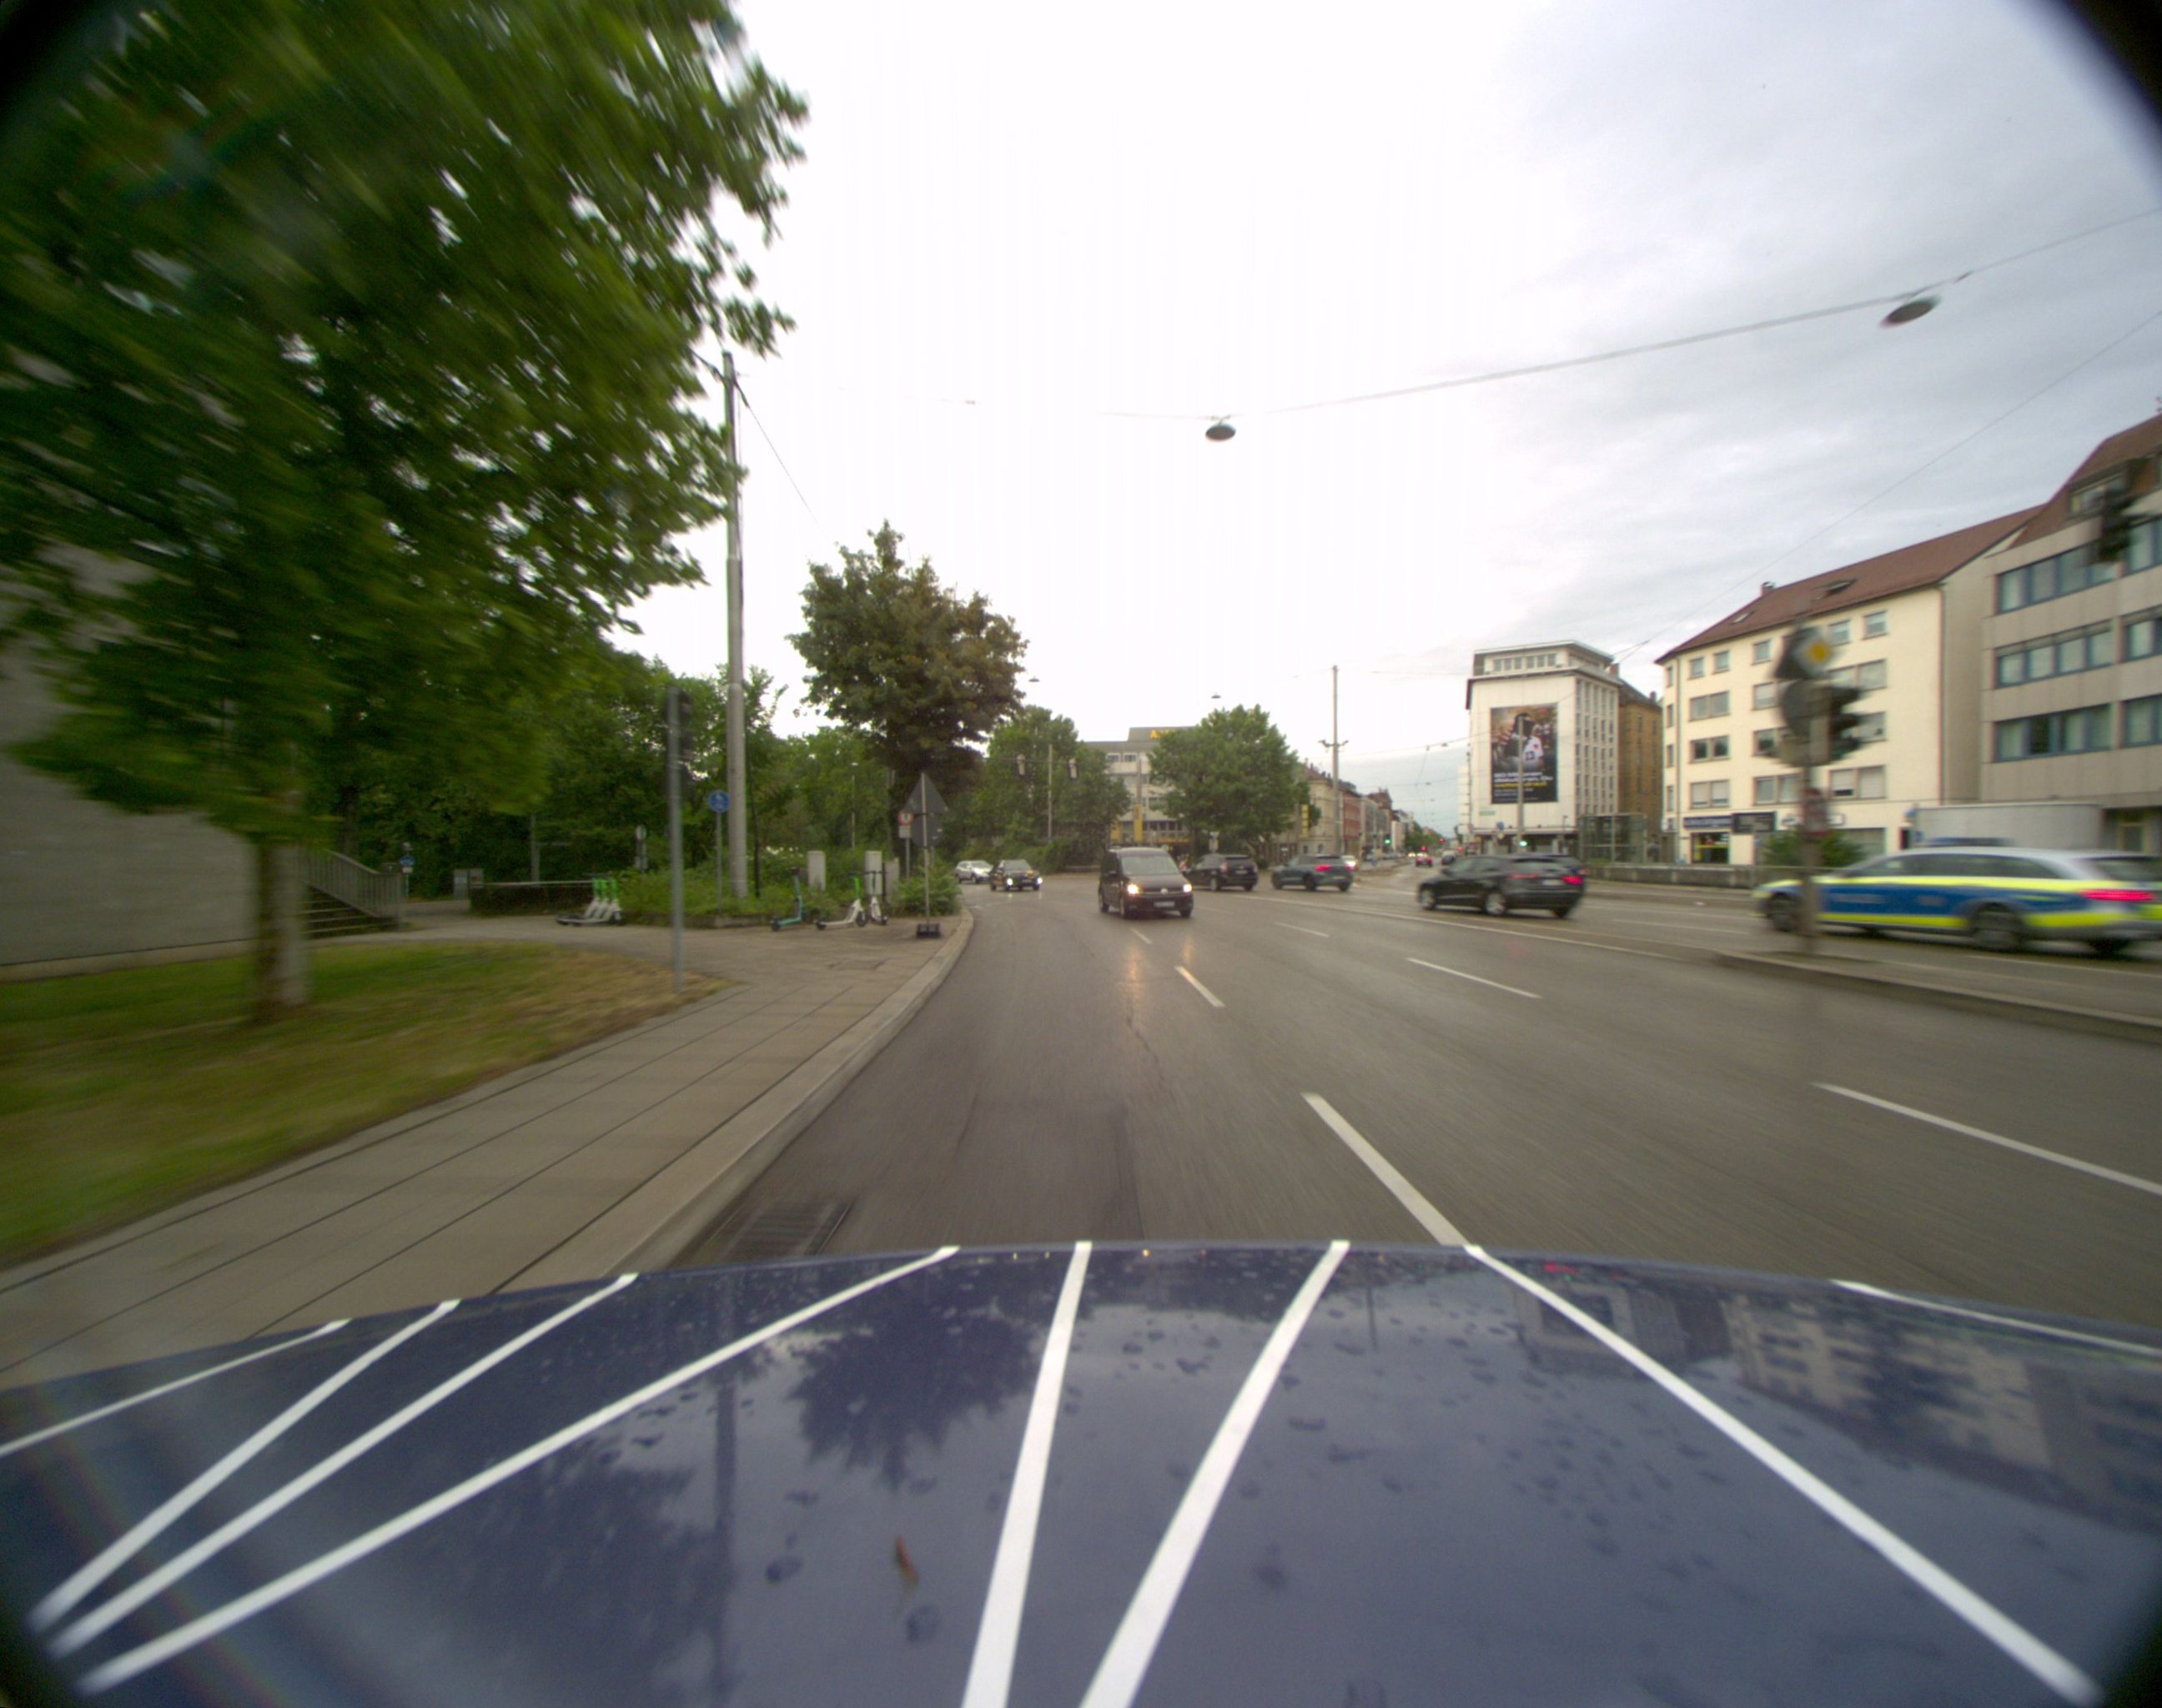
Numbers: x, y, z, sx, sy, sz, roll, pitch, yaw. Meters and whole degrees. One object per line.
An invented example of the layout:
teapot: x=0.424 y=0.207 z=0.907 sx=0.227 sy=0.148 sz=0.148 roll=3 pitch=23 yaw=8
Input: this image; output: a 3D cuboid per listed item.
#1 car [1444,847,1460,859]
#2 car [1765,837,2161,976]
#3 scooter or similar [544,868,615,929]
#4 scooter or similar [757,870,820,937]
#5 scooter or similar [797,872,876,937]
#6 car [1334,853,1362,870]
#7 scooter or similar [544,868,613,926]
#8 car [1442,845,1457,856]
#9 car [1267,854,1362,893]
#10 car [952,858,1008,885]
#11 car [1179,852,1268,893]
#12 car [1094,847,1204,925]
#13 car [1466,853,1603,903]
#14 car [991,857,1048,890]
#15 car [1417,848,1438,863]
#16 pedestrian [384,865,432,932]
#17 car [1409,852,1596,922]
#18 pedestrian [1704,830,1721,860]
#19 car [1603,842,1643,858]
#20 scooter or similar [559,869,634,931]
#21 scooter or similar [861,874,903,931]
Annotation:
car: x=52.377 y=-0.137 z=107.183 sx=1.871 sy=1.568 sz=4.007 roll=0 pitch=1 yaw=29
car: x=13.419 y=0.611 z=11.520 sx=1.771 sy=1.672 sz=4.589 roll=0 pitch=1 yaw=-3
scooter or similar: x=-11.089 y=0.978 z=16.831 sx=1.240 sy=1.305 sz=0.472 roll=0 pitch=1 yaw=-1
scooter or similar: x=-5.728 y=0.943 z=14.933 sx=0.563 sy=1.194 sz=1.326 roll=0 pitch=1 yaw=9
scooter or similar: x=-4.911 y=0.980 z=15.310 sx=0.687 sy=1.194 sz=1.341 roll=1 pitch=1 yaw=40
car: x=24.791 y=0.698 z=70.461 sx=1.995 sy=1.442 sz=4.236 roll=0 pitch=1 yaw=26
scooter or similar: x=-11.467 y=0.974 z=17.363 sx=1.240 sy=1.305 sz=0.472 roll=0 pitch=1 yaw=-1
car: x=56.607 y=-0.526 z=116.531 sx=1.871 sy=1.568 sz=4.007 roll=0 pitch=1 yaw=29
car: x=9.772 y=0.772 z=32.105 sx=1.825 sy=1.503 sz=4.226 roll=0 pitch=1 yaw=-16
car: x=-7.153 y=1.180 z=53.474 sx=2.004 sy=1.735 sz=4.642 roll=-1 pitch=1 yaw=-34
car: x=6.105 y=0.736 z=33.133 sx=1.861 sy=1.613 sz=4.585 roll=-1 pitch=1 yaw=-17
car: x=1.649 y=0.766 z=19.939 sx=1.797 sy=1.789 sz=4.121 roll=-2 pitch=0 yaw=-11
car: x=15.085 y=0.722 z=25.557 sx=1.768 sy=1.503 sz=4.118 roll=0 pitch=1 yaw=-7
car: x=-3.258 y=0.971 z=39.410 sx=1.933 sy=1.532 sz=3.993 roll=-1 pitch=1 yaw=-20
car: x=42.974 y=0.186 z=94.393 sx=1.995 sy=1.832 sz=4.446 roll=0 pitch=1 yaw=19
pedestrian: x=-13.906 y=0.911 z=15.716 sx=0.480 sy=1.365 sz=0.538 roll=0 pitch=1 yaw=1
car: x=9.617 y=0.682 z=17.758 sx=1.772 sy=1.408 sz=4.080 roll=0 pitch=1 yaw=-7
pedestrian: x=42.975 y=-0.612 z=51.725 sx=0.567 sy=2.002 sz=0.676 roll=0 pitch=1 yaw=-13
car: x=55.160 y=-0.434 z=77.335 sx=4.007 sy=1.581 sz=1.914 roll=0 pitch=1 yaw=-32
scooter or similar: x=-10.378 y=0.973 z=16.295 sx=1.240 sy=1.305 sz=0.554 roll=0 pitch=1 yaw=-1
scooter or similar: x=-4.347 y=1.029 z=16.550 sx=0.638 sy=1.122 sz=1.590 roll=0 pitch=1 yaw=-23
